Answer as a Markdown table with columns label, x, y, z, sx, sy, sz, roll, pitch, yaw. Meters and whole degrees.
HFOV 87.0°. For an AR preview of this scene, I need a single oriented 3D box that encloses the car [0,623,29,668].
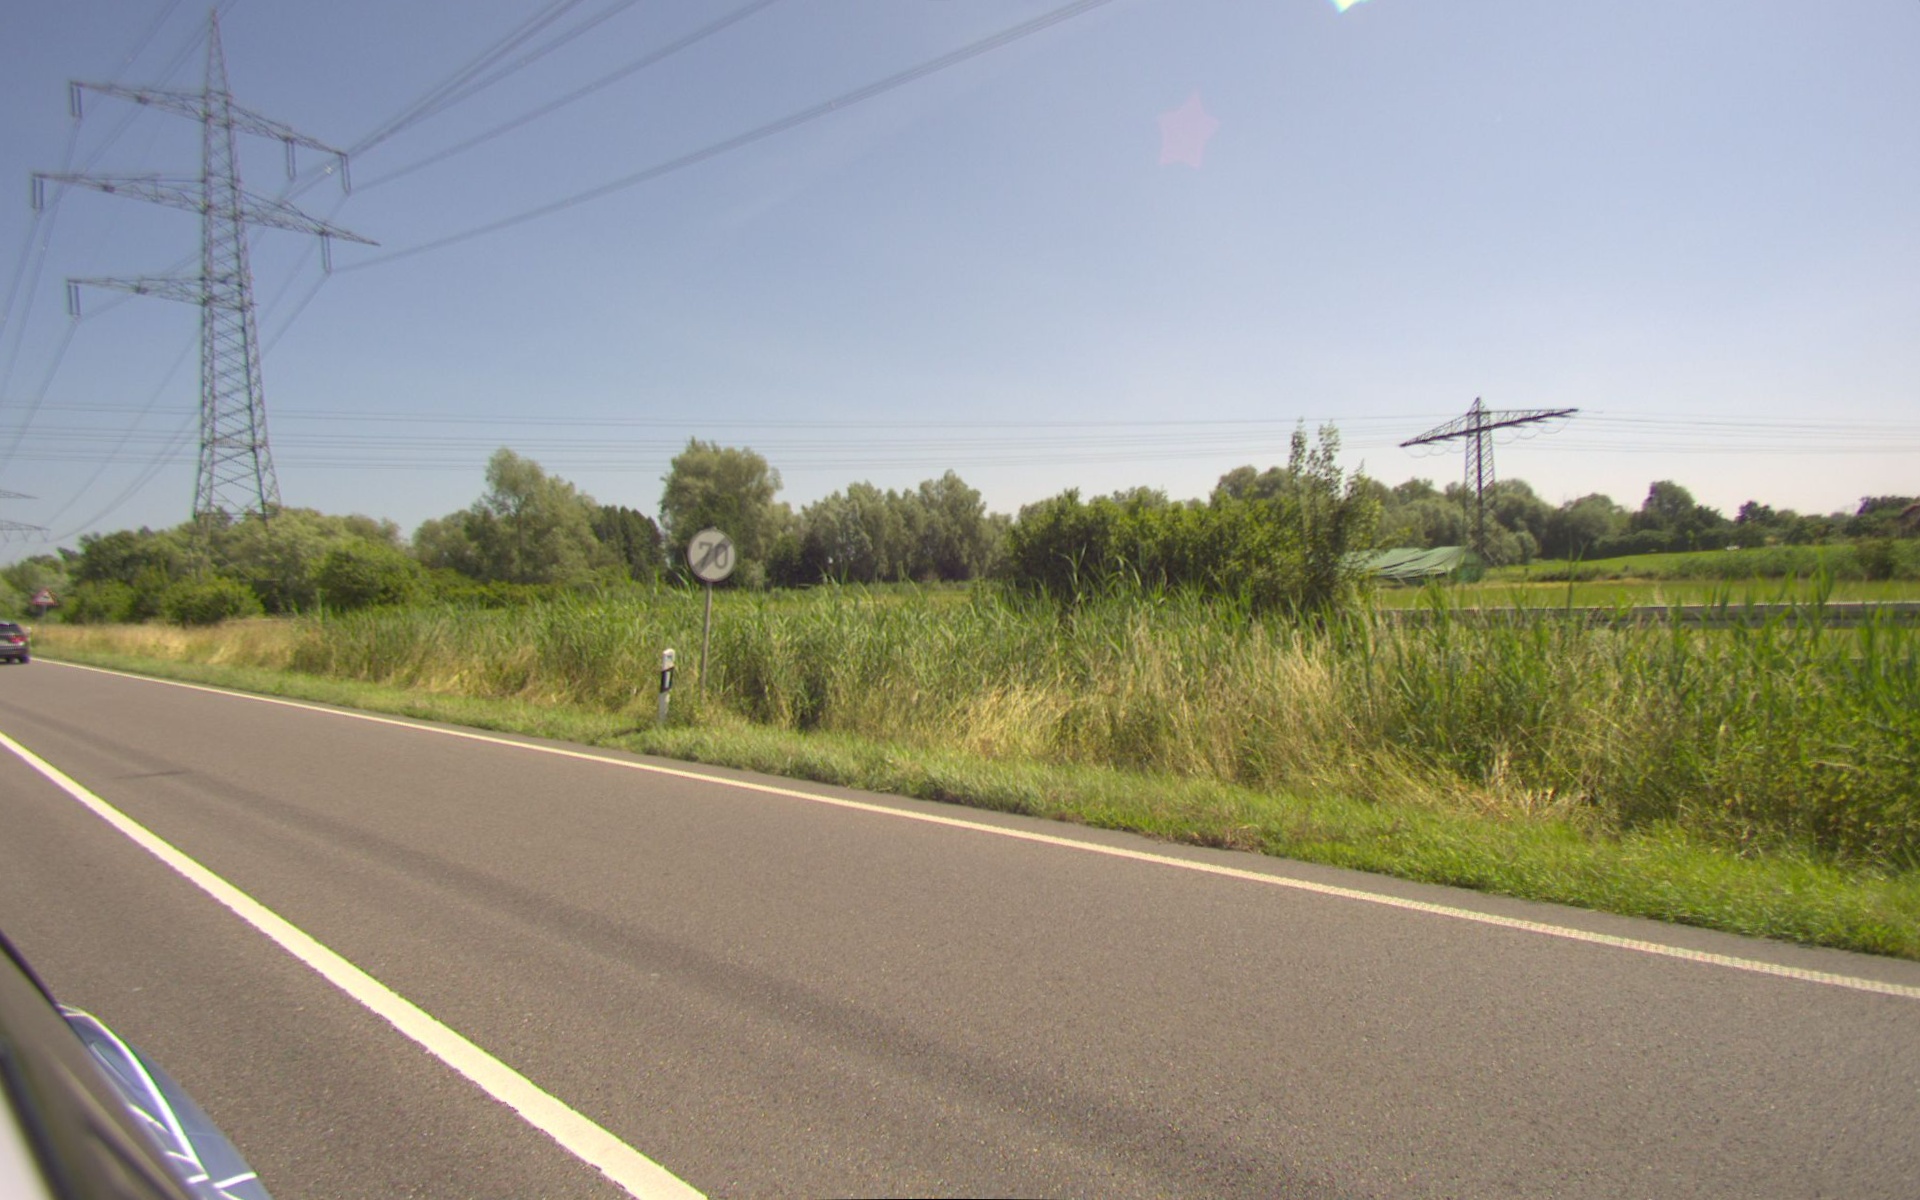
| label | x | y | z | sx | sy | sz | roll | pitch | yaw |
| --- | --- | --- | --- | --- | --- | --- | --- | --- | --- |
| car | -32.378 | 1.497 | 33.535 | 4.319 | 1.444 | 1.727 | -1 | -1 | 40 |
